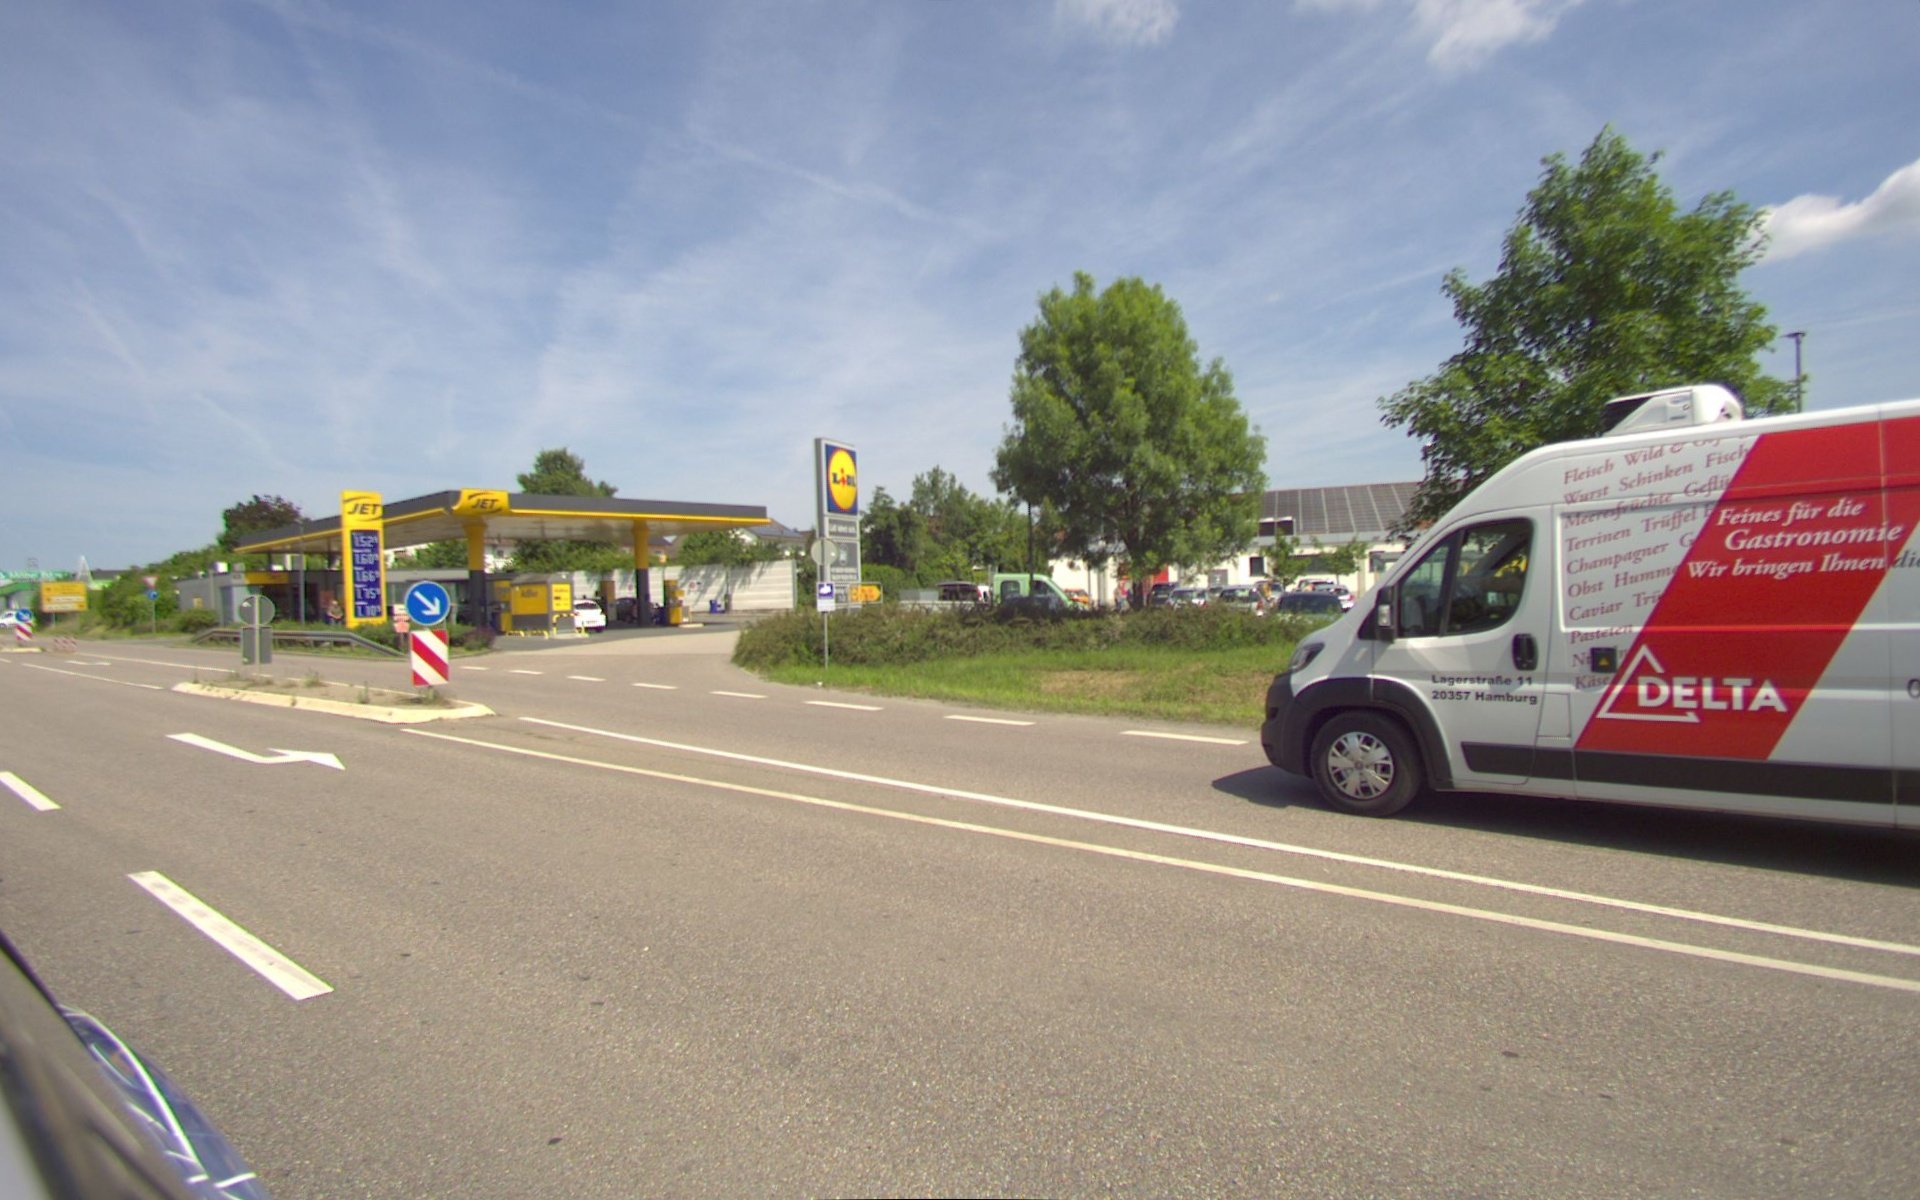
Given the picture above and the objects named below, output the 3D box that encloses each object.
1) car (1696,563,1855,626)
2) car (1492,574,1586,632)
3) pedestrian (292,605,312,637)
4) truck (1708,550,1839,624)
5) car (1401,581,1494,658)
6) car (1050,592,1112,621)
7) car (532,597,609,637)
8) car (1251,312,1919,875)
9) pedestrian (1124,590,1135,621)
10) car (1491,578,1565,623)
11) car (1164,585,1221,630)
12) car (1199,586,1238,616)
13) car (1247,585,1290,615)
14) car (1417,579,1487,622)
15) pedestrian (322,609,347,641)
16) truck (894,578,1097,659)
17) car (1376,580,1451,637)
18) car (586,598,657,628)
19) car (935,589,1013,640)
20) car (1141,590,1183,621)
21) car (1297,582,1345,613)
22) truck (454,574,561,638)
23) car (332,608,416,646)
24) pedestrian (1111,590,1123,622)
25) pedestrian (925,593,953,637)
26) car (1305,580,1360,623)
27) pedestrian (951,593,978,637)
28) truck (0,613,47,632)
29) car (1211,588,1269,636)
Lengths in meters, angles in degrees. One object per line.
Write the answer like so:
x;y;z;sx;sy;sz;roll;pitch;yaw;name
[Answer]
24.227;-0.139;30.306;1.981;1.708;4.408;-1;0;14;car
18.219;0.076;32.036;1.912;1.701;3.973;-1;0;20;car
-38.496;1.210;59.222;0.639;1.852;0.788;-2;0;41;pedestrian
27.881;-0.437;34.867;1.981;2.383;3.982;-1;0;14;truck
11.429;0.418;23.925;1.683;1.670;3.971;-1;0;22;car
6.525;0.316;54.294;1.879;1.453;3.958;-1;1;31;car
-17.755;0.811;46.061;4.001;1.741;1.713;-2;-3;44;car
4.979;-0.028;5.868;5.987;2.674;2.094;-2;-1;44;car
8.448;0.268;50.404;0.501;1.564;0.515;-1;0;13;pedestrian
20.595;-0.003;36.837;1.767;1.540;3.972;-1;0;21;car
9.347;0.263;40.462;1.850;1.688;4.399;-1;0;17;car
13.324;0.007;52.211;1.868;1.453;3.981;-1;1;15;car
15.561;-0.020;51.243;1.868;1.453;3.981;-1;1;15;car
18.340;0.015;37.911;1.764;1.540;3.977;-1;0;17;car
-29.385;1.167;47.547;0.901;1.438;0.495;0;0;-44;pedestrian
1.185;0.586;32.532;6.273;2.393;2.245;-1;-1;7;truck
14.674;0.231;32.918;1.898;1.687;3.974;-1;1;20;car
-19.311;0.717;57.752;3.862;1.625;1.735;-2;-1;31;car
0.601;0.511;38.704;1.865;1.825;4.145;-1;0;17;car
10.479;0.263;52.271;1.868;1.453;3.981;-1;1;15;car
17.967;-0.136;50.547;1.868;1.453;3.981;-1;1;15;car
-22.097;0.297;49.301;6.278;2.944;2.222;0;0;40;truck
-27.713;1.285;47.814;4.258;1.719;1.975;-2;-1;38;car
7.759;0.285;50.018;0.501;1.564;0.515;-1;0;14;pedestrian
-0.761;0.530;36.594;0.804;1.587;0.699;-1;0;22;pedestrian
14.283;0.050;38.917;1.764;1.540;3.977;-1;0;17;car
0.157;0.531;36.162;0.801;1.587;0.701;-1;0;13;pedestrian
-112.441;2.699;120.976;1.998;2.024;4.712;-1;1;40;truck
9.892;0.389;35.579;1.769;1.513;4.122;-1;1;18;car
